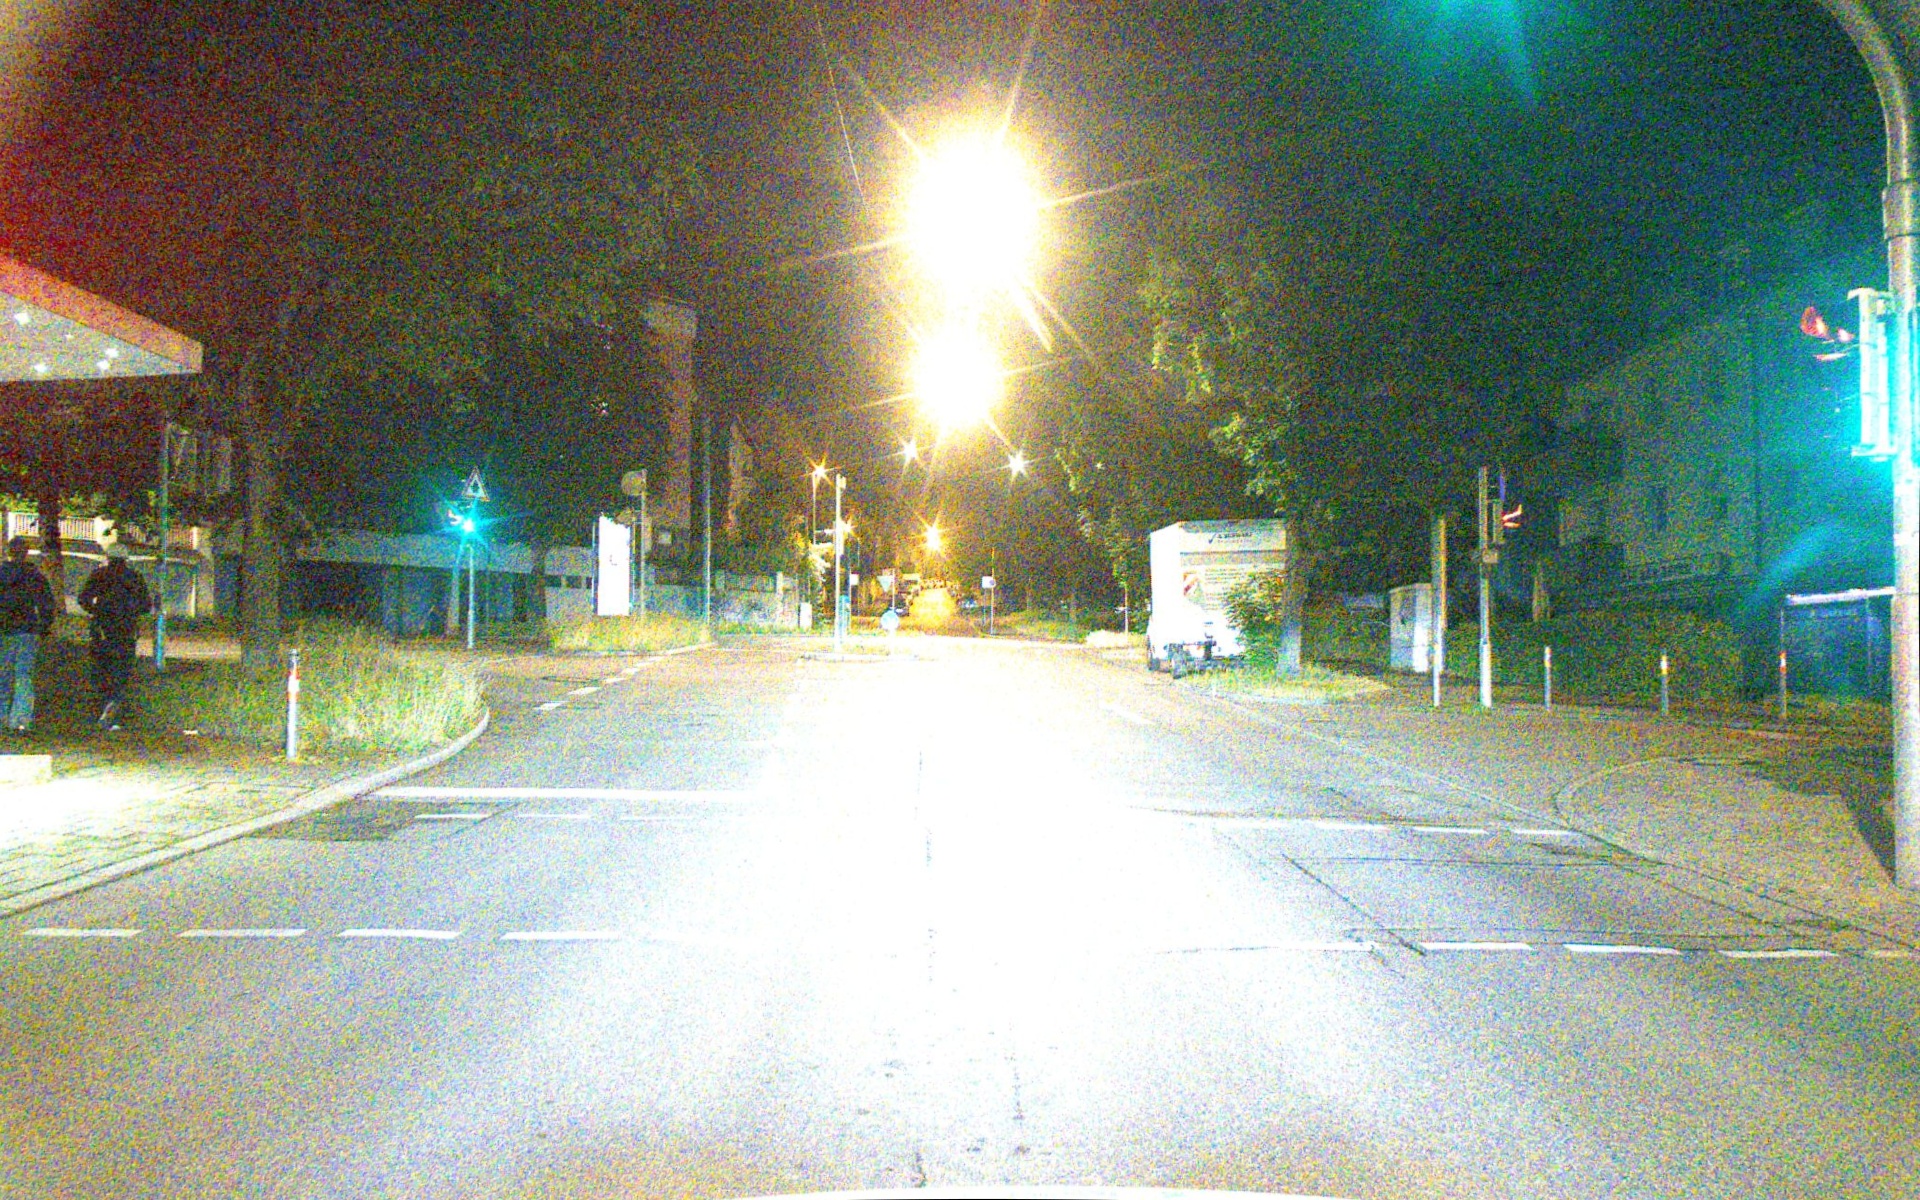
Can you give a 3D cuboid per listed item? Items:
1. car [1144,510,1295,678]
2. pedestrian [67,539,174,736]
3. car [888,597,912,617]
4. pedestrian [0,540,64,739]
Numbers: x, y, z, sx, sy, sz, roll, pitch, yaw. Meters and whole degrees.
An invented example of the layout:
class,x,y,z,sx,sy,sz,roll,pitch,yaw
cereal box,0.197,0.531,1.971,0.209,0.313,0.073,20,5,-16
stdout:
class,x,y,z,sx,sy,sz,roll,pitch,yaw
car,5.253,-0.109,34.336,2.249,3.147,5.840,-1,0,1
pedestrian,-8.004,0.353,15.788,0.558,1.808,0.737,3,-1,-1
car,-4.840,0.543,134.265,1.869,1.585,3.903,1,0,-1
pedestrian,-8.559,0.351,14.981,0.558,1.761,0.543,1,-1,-1
